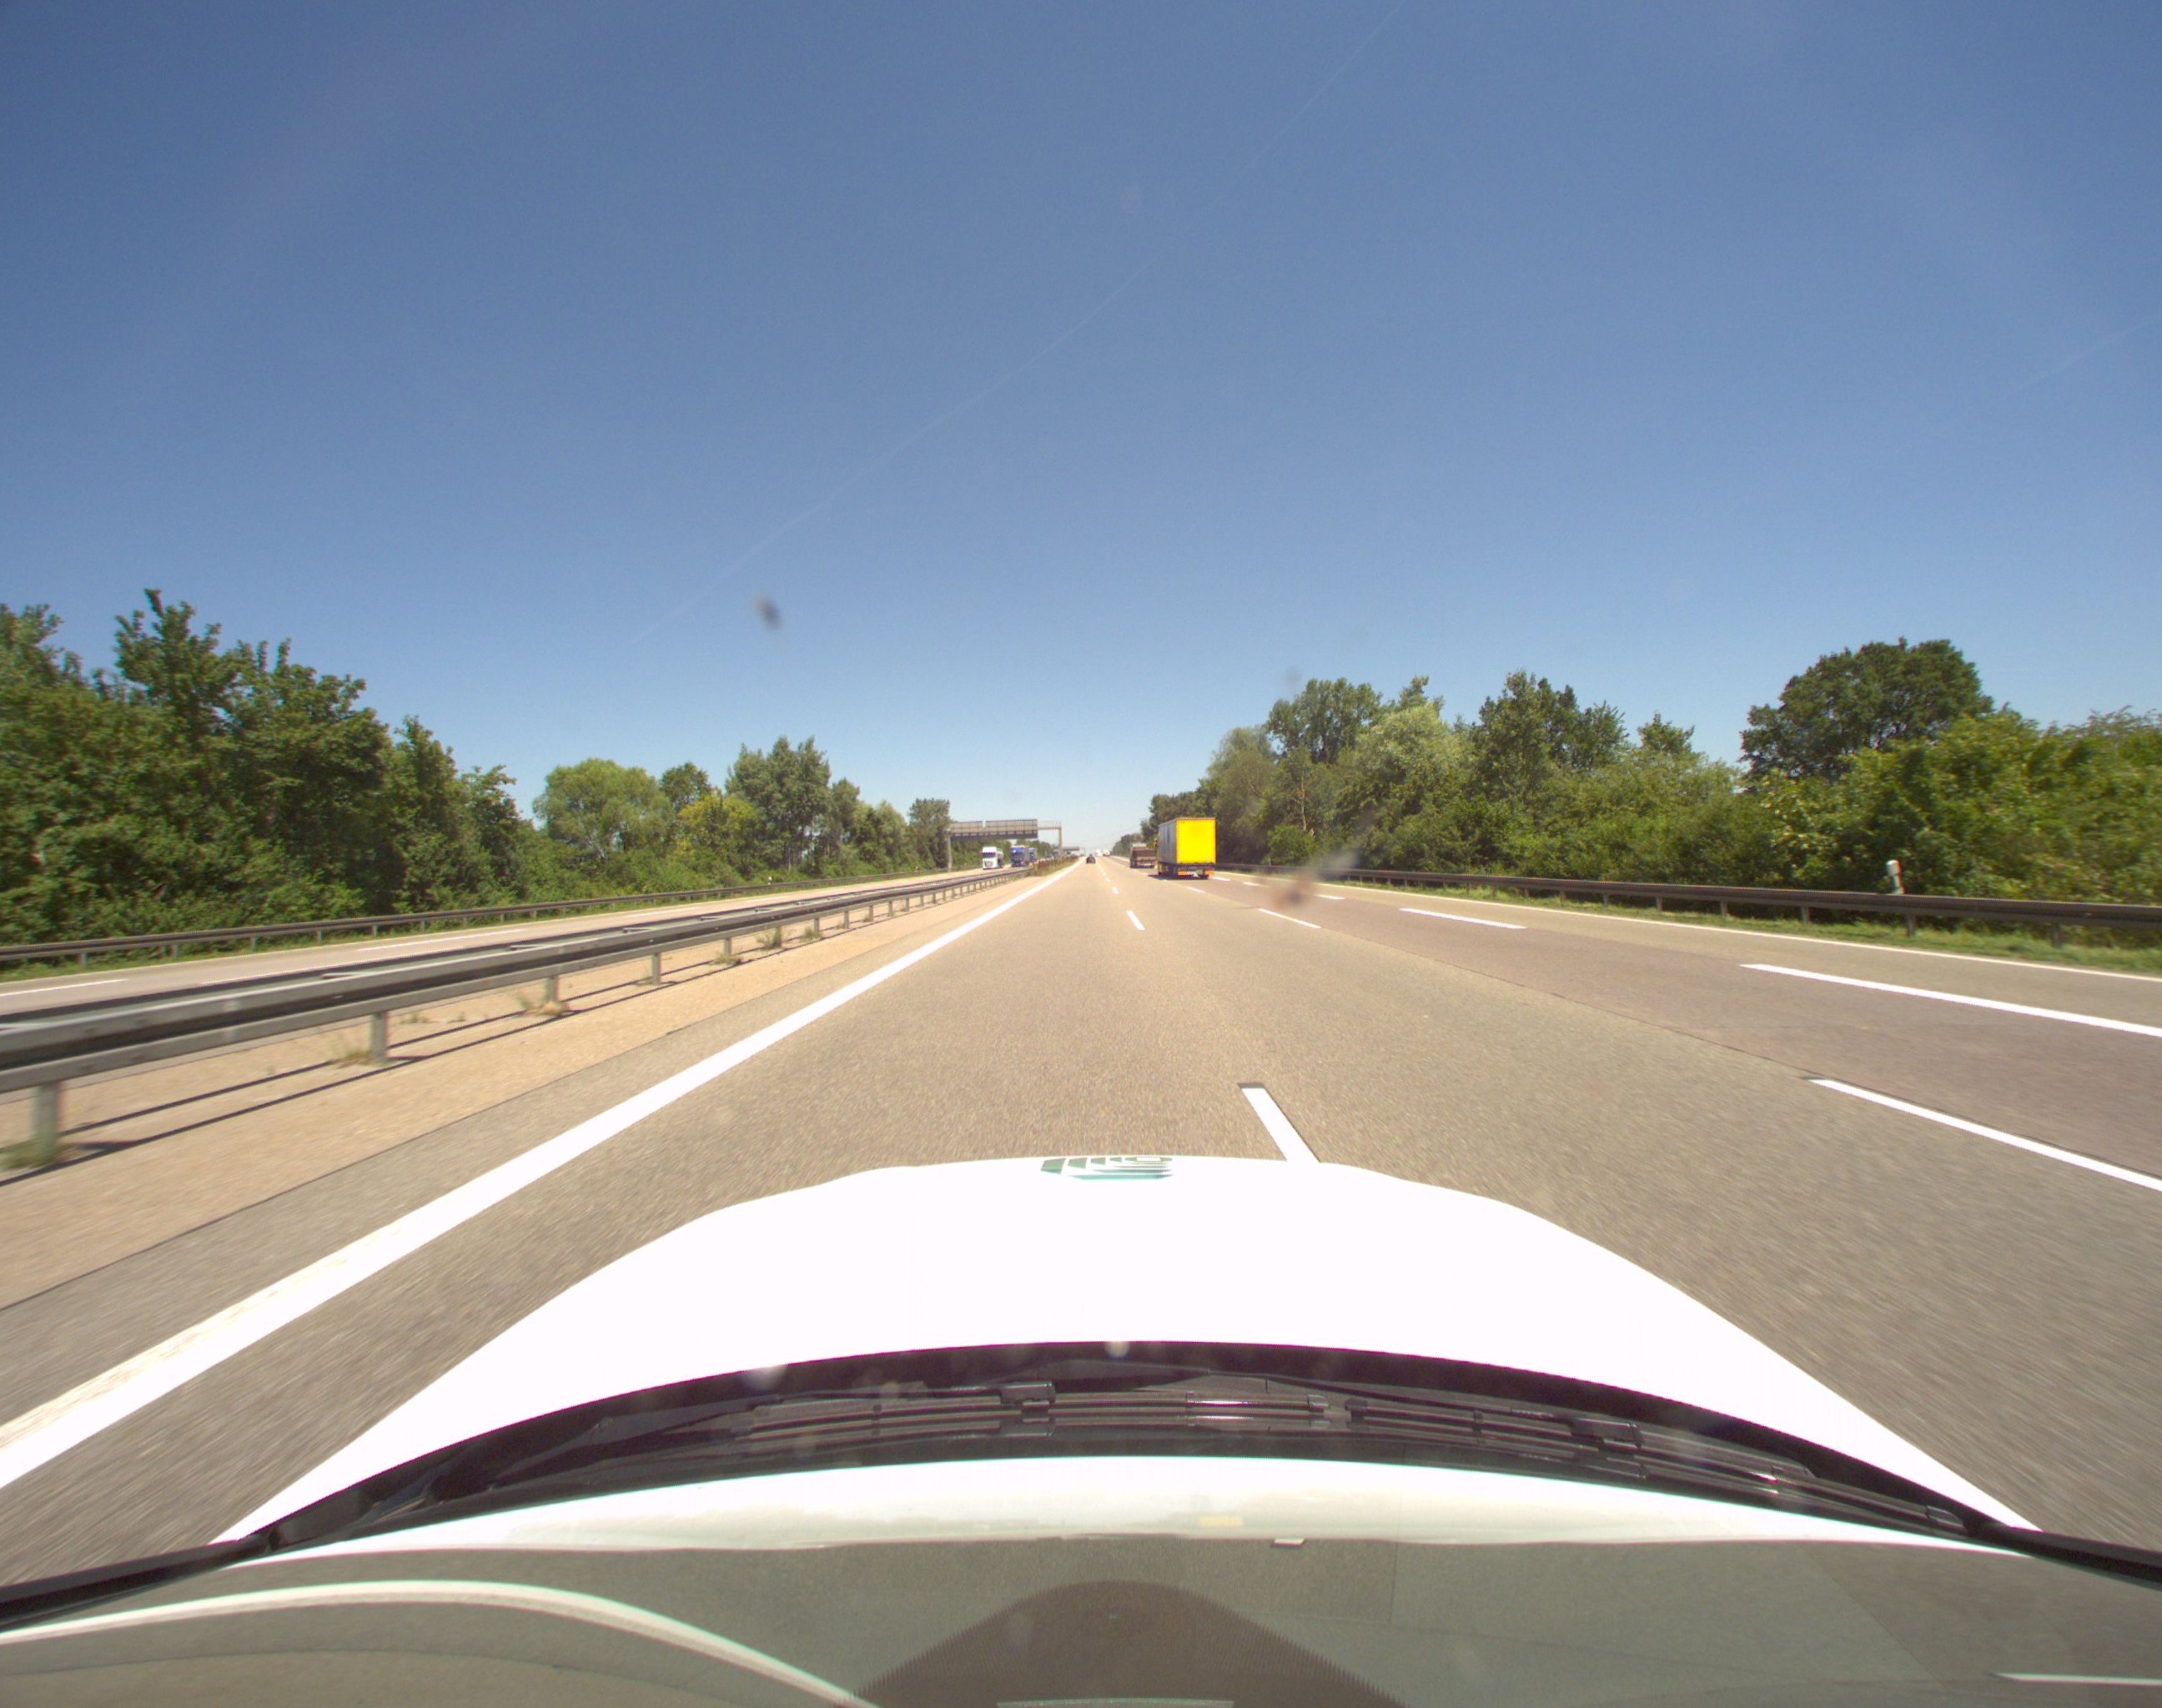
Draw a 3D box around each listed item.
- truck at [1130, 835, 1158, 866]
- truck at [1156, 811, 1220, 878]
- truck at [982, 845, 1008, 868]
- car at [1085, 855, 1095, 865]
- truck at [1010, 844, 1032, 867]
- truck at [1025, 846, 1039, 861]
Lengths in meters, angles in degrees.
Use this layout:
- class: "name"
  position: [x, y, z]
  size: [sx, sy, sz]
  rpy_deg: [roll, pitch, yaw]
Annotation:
- class: "truck"
  position: [8.487, -0.377, 111.671]
  size: [2.959, 3.957, 16.616]
  rpy_deg: [-1, -1, 1]
- class: "truck"
  position: [7.717, -0.572, 61.348]
  size: [2.835, 4.257, 16.794]
  rpy_deg: [-2, -1, 1]
- class: "truck"
  position: [-16.073, 0.494, 153.692]
  size: [2.945, 4.018, 15.820]
  rpy_deg: [-2, 0, 0]
- class: "car"
  position: [1.794, 1.184, 160.855]
  size: [1.785, 2.014, 3.888]
  rpy_deg: [0, -1, 1]
- class: "truck"
  position: [-12.100, 0.248, 164.996]
  size: [2.945, 4.245, 17.181]
  rpy_deg: [-2, 0, 0]
- class: "truck"
  position: [-14.427, -0.110, 241.676]
  size: [2.945, 4.342, 18.241]
  rpy_deg: [-2, 0, 0]
